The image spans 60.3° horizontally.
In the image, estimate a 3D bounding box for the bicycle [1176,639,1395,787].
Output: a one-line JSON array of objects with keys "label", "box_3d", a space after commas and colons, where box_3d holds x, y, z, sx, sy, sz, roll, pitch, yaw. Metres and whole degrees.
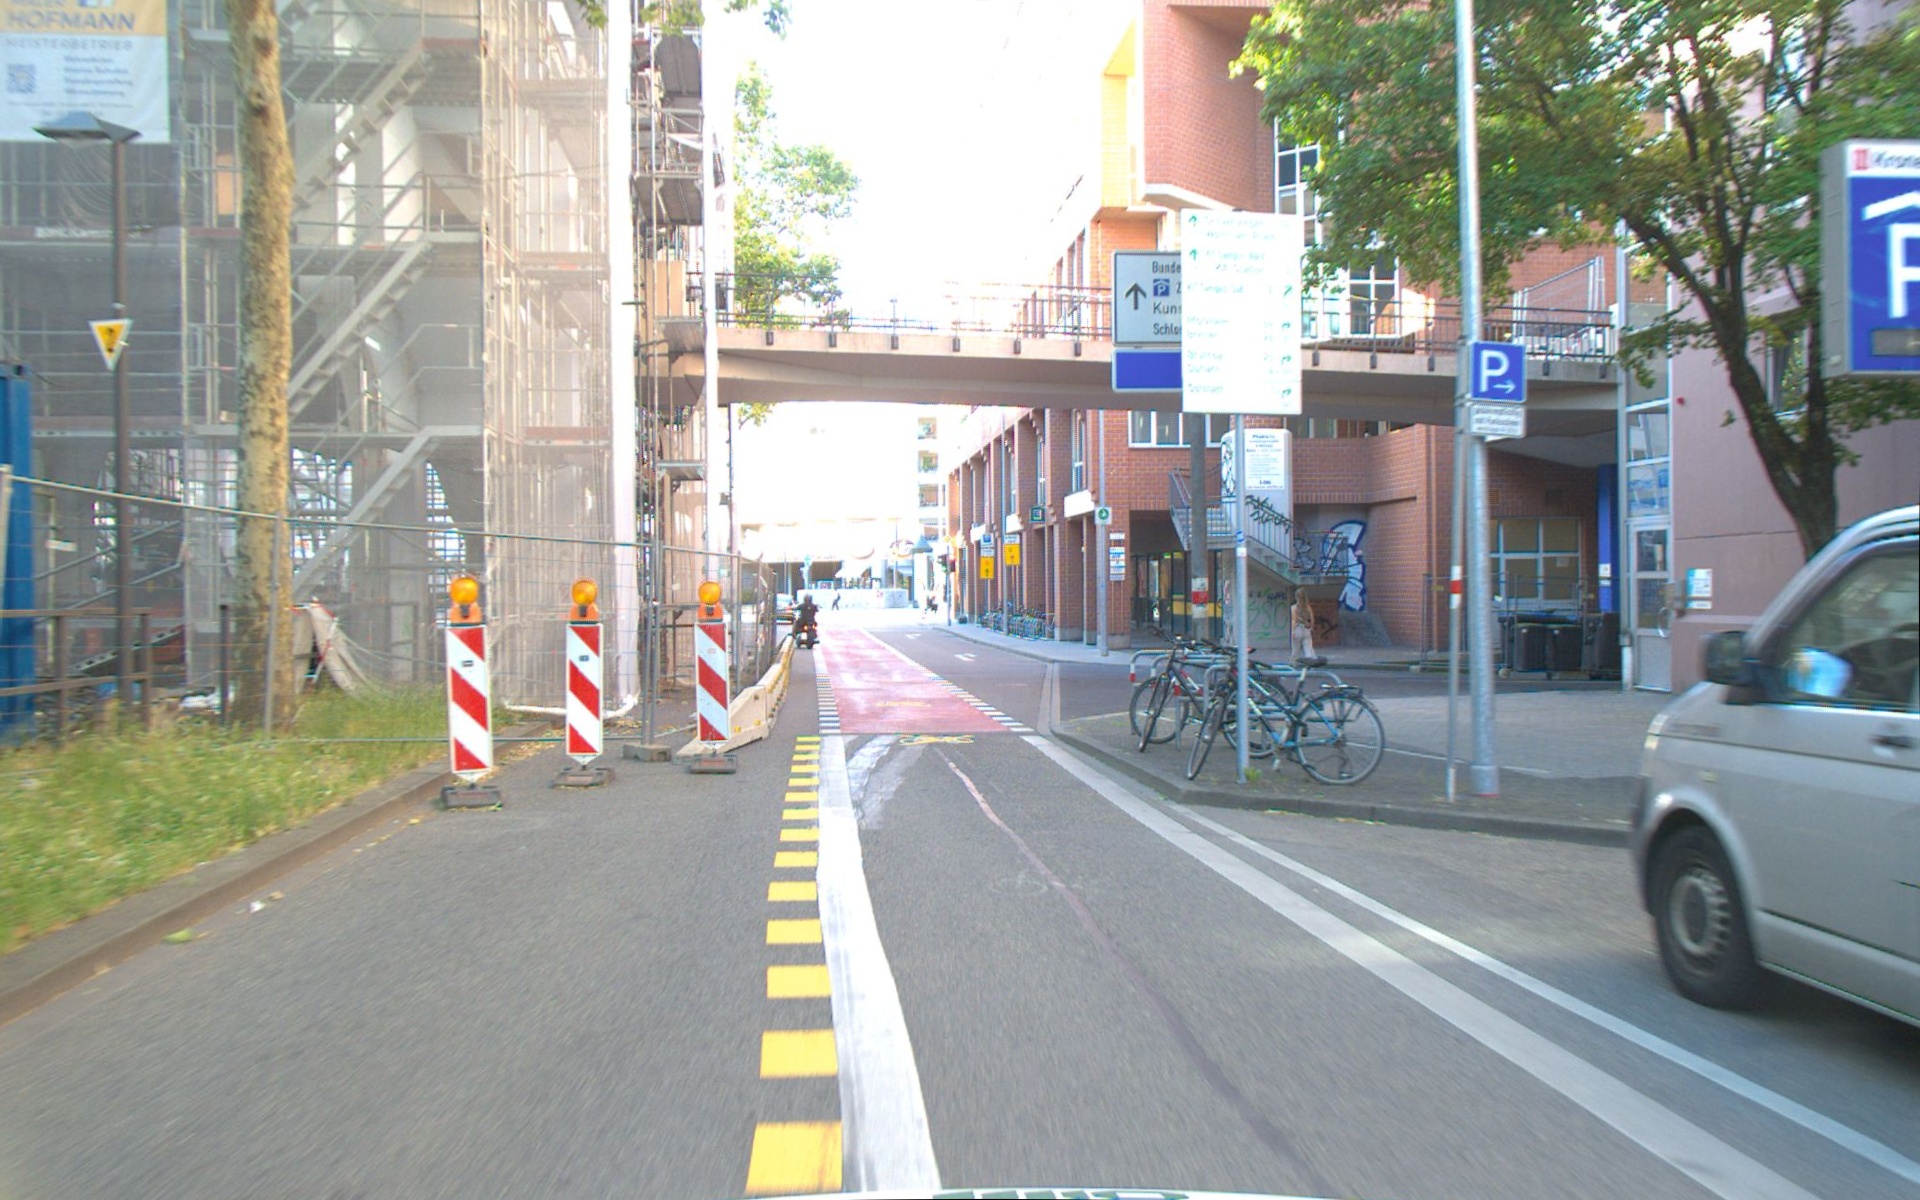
[{"label": "bicycle", "box_3d": [2.552, 0.864, 12.965, 1.642, 1.086, 0.511, 0, 0, 17]}]

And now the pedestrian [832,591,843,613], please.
[{"label": "pedestrian", "box_3d": [-8.955, 0.124, 120.801, 0.547, 1.611, 0.538, 0, 0, 41]}]

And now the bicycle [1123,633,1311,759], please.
[{"label": "bicycle", "box_3d": [2.351, 0.860, 15.192, 1.645, 1.086, 0.500, 0, 0, 28]}]

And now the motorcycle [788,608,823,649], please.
[{"label": "motorcycle", "box_3d": [-4.543, 0.822, 48.467, 0.954, 1.151, 2.801, 1, 0, -6]}]

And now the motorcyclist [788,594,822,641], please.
[{"label": "motorcyclist", "box_3d": [-4.575, 0.502, 48.797, 0.952, 1.370, 1.136, 1, 0, -7]}]

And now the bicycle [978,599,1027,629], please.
[{"label": "bicycle", "box_3d": [1.685, 0.558, 65.040, 1.855, 1.138, 0.474, -1, 0, -6]}]

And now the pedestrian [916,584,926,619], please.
[{"label": "pedestrian", "box_3d": [-2.052, 0.099, 86.900, 0.466, 1.824, 0.540, -1, 0, -6]}]

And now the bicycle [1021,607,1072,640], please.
[{"label": "bicycle", "box_3d": [2.822, 0.759, 54.219, 1.580, 0.971, 0.554, -3, 0, -4]}]

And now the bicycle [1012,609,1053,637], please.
[{"label": "bicycle", "box_3d": [2.497, 0.786, 56.948, 1.308, 0.856, 0.424, -3, 0, -4]}]

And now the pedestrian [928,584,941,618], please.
[{"label": "pedestrian", "box_3d": [-1.331, 0.038, 87.018, 0.621, 1.755, 0.629, -1, 0, -6]}]

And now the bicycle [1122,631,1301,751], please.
[{"label": "bicycle", "box_3d": [2.423, 0.855, 15.995, 1.645, 1.086, 0.500, 0, 0, 28]}]

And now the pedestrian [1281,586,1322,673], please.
[{"label": "pedestrian", "box_3d": [6.624, 0.568, 32.103, 0.558, 1.662, 0.777, 0, 0, -7]}]

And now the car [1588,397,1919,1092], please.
[{"label": "car", "box_3d": [3.913, 0.434, 4.623, 1.882, 2.115, 5.163, -1, 0, -6]}]

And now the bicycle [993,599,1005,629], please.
[{"label": "bicycle", "box_3d": [1.611, 0.563, 68.598, 0.333, 1.204, 1.677, -1, 0, -4]}]

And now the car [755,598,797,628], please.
[{"label": "car", "box_3d": [-9.125, 0.626, 81.917, 1.888, 1.413, 3.992, -1, 0, -9]}]

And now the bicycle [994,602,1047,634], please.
[{"label": "bicycle", "box_3d": [2.231, 0.658, 61.036, 1.855, 1.138, 0.549, -1, 0, -6]}]
